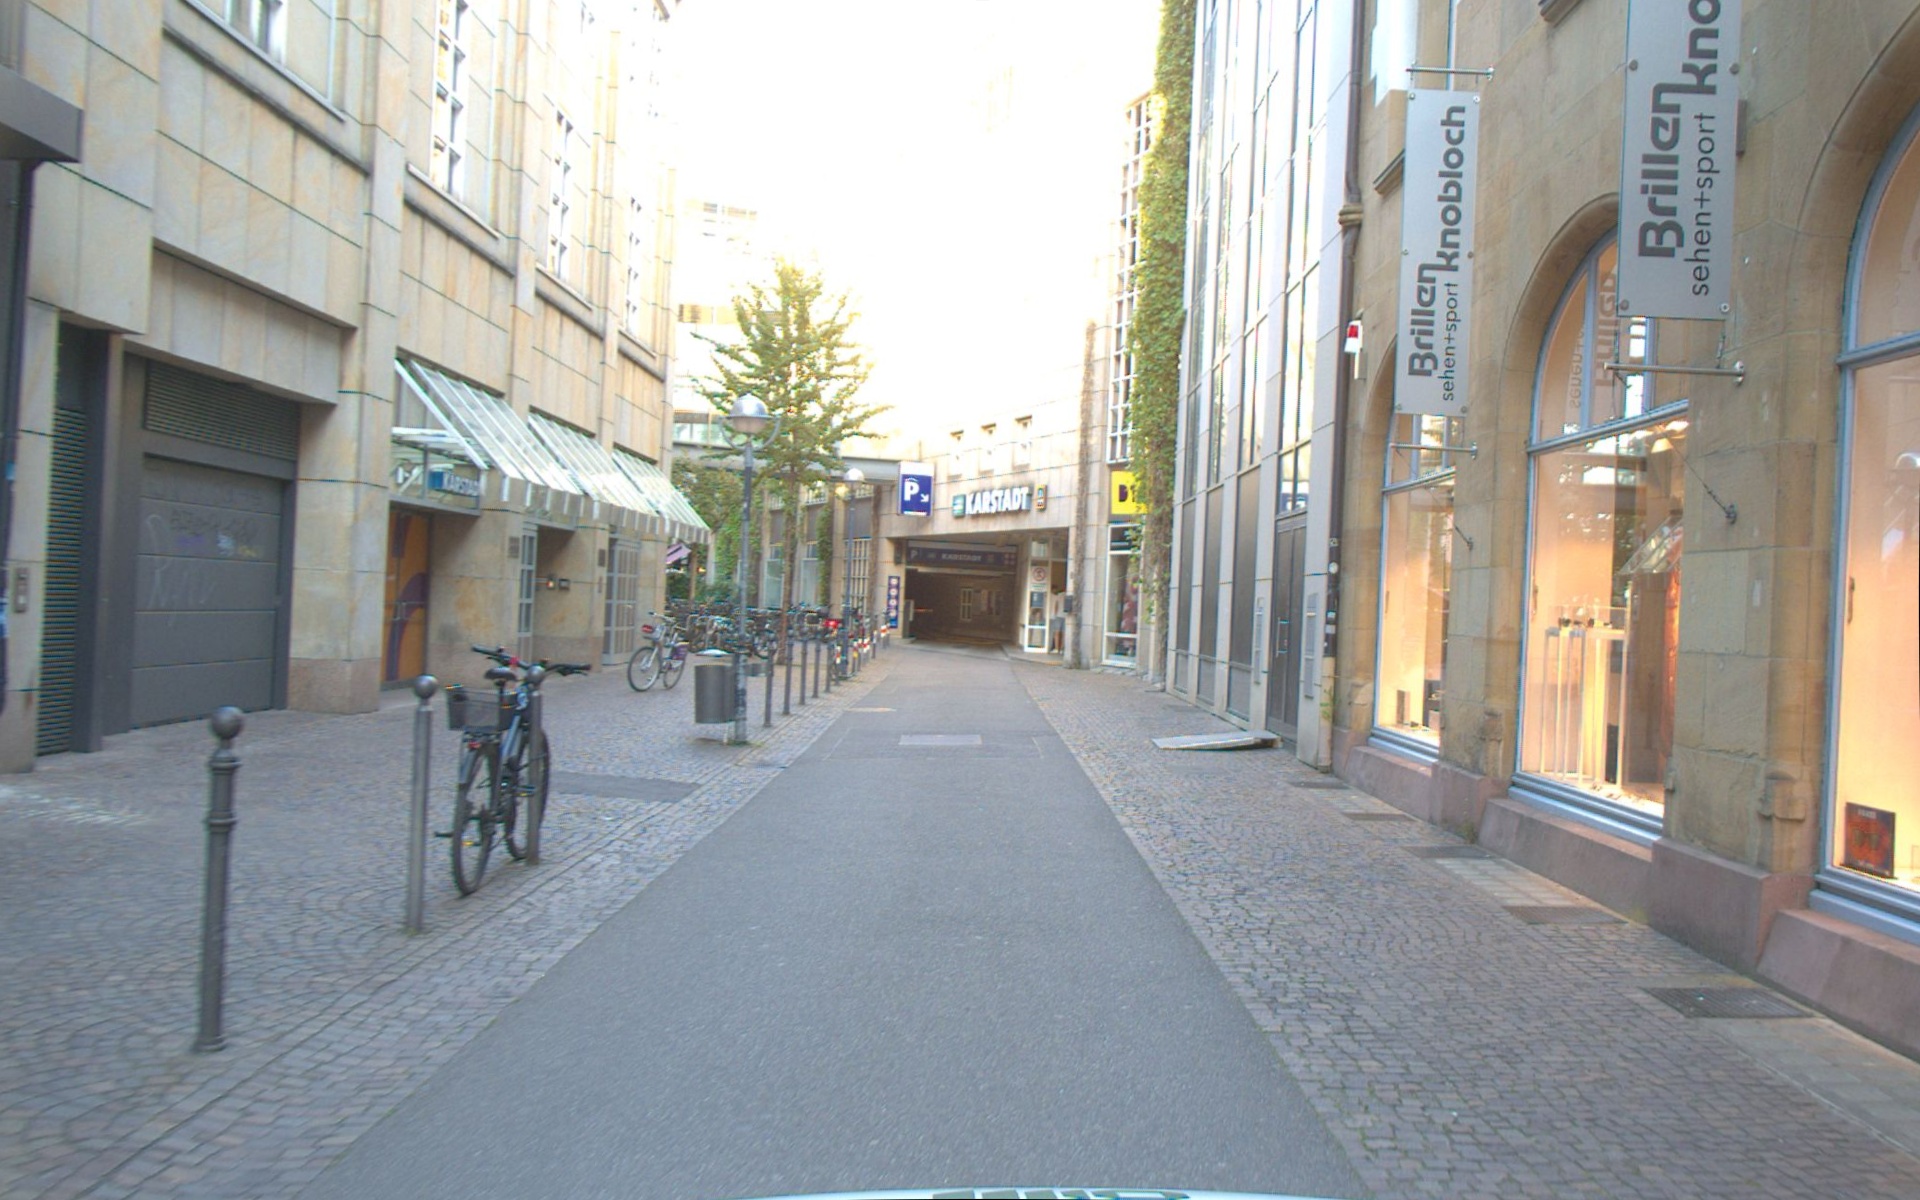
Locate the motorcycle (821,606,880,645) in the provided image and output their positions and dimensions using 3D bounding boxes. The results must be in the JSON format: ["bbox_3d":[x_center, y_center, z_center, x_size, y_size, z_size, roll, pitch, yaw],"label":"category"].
[{"bbox_3d":[-3.329,0.767,50.213,1.718,1.175,0.592,1,0,-17],"label":"motorcycle"}]

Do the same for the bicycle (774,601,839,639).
[{"bbox_3d":[-4.895,0.633,52.746,1.964,1.203,0.692,0,0,-20],"label":"bicycle"}]

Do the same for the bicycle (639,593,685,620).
[{"bbox_3d":[-13.284,0.282,73.711,1.964,1.203,0.690,0,0,-20],"label":"bicycle"}]

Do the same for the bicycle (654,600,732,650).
[{"bbox_3d":[-6.850,0.639,42.433,1.882,1.203,0.693,2,0,-17],"label":"bicycle"}]

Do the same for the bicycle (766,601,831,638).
[{"bbox_3d":[-5.224,0.632,53.627,1.964,1.203,0.798,0,0,-19],"label":"bicycle"}]

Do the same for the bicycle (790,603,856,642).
[{"bbox_3d":[-4.293,0.713,51.767,1.964,1.203,0.692,0,0,-20],"label":"bicycle"}]

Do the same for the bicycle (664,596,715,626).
[{"bbox_3d":[-11.189,0.455,68.414,1.964,1.203,0.690,0,0,-20],"label":"bicycle"}]

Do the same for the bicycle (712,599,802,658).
[{"bbox_3d":[-4.670,0.652,38.016,1.885,1.283,0.804,2,0,-20],"label":"bicycle"}]

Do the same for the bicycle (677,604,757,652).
[{"bbox_3d":[-6.102,0.691,41.533,1.882,1.121,0.693,2,0,-17],"label":"bicycle"}]

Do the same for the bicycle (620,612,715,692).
[{"bbox_3d":[-4.361,0.760,24.813,0.679,1.131,1.778,2,0,15],"label":"bicycle"}]

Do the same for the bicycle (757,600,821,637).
[{"bbox_3d":[-5.663,0.620,54.760,1.964,1.203,0.798,0,0,-19],"label":"bicycle"}]

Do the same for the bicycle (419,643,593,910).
[{"bbox_3d":[-2.291,0.833,8.529,0.402,1.152,1.930,3,0,-3],"label":"bicycle"}]

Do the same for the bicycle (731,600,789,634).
[{"bbox_3d":[-7.159,0.610,59.320,1.964,1.203,0.690,0,0,-20],"label":"bicycle"}]

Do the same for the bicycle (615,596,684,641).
[{"bbox_3d":[-8.995,0.534,47.905,1.882,1.203,0.693,2,0,-17],"label":"bicycle"}]

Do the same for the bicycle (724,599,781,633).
[{"bbox_3d":[-7.591,0.584,60.393,1.964,1.203,0.690,0,0,-20],"label":"bicycle"}]

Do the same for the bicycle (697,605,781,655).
[{"bbox_3d":[-5.388,0.731,40.347,1.885,1.121,0.692,2,0,-20],"label":"bicycle"}]

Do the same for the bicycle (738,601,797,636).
[{"bbox_3d":[-6.751,0.646,58.084,1.964,1.203,0.690,0,0,-20],"label":"bicycle"}]

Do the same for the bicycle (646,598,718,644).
[{"bbox_3d":[-7.748,0.593,46.125,1.882,1.203,0.693,2,0,-17],"label":"bicycle"}]

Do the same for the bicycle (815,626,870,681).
[{"bbox_3d":[-2.238,1.008,31.678,0.494,0.983,1.696,2,0,15],"label":"bicycle"}]

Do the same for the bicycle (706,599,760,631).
[{"bbox_3d":[-8.616,0.576,62.752,1.964,1.203,0.690,0,0,-20],"label":"bicycle"}]

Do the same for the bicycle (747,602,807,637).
[{"bbox_3d":[-6.337,0.677,57.202,1.964,1.203,0.690,0,0,-20],"label":"bicycle"}]

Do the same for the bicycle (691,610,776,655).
[{"bbox_3d":[-5.395,0.775,39.427,1.885,1.011,0.692,2,0,-20],"label":"bicycle"}]
